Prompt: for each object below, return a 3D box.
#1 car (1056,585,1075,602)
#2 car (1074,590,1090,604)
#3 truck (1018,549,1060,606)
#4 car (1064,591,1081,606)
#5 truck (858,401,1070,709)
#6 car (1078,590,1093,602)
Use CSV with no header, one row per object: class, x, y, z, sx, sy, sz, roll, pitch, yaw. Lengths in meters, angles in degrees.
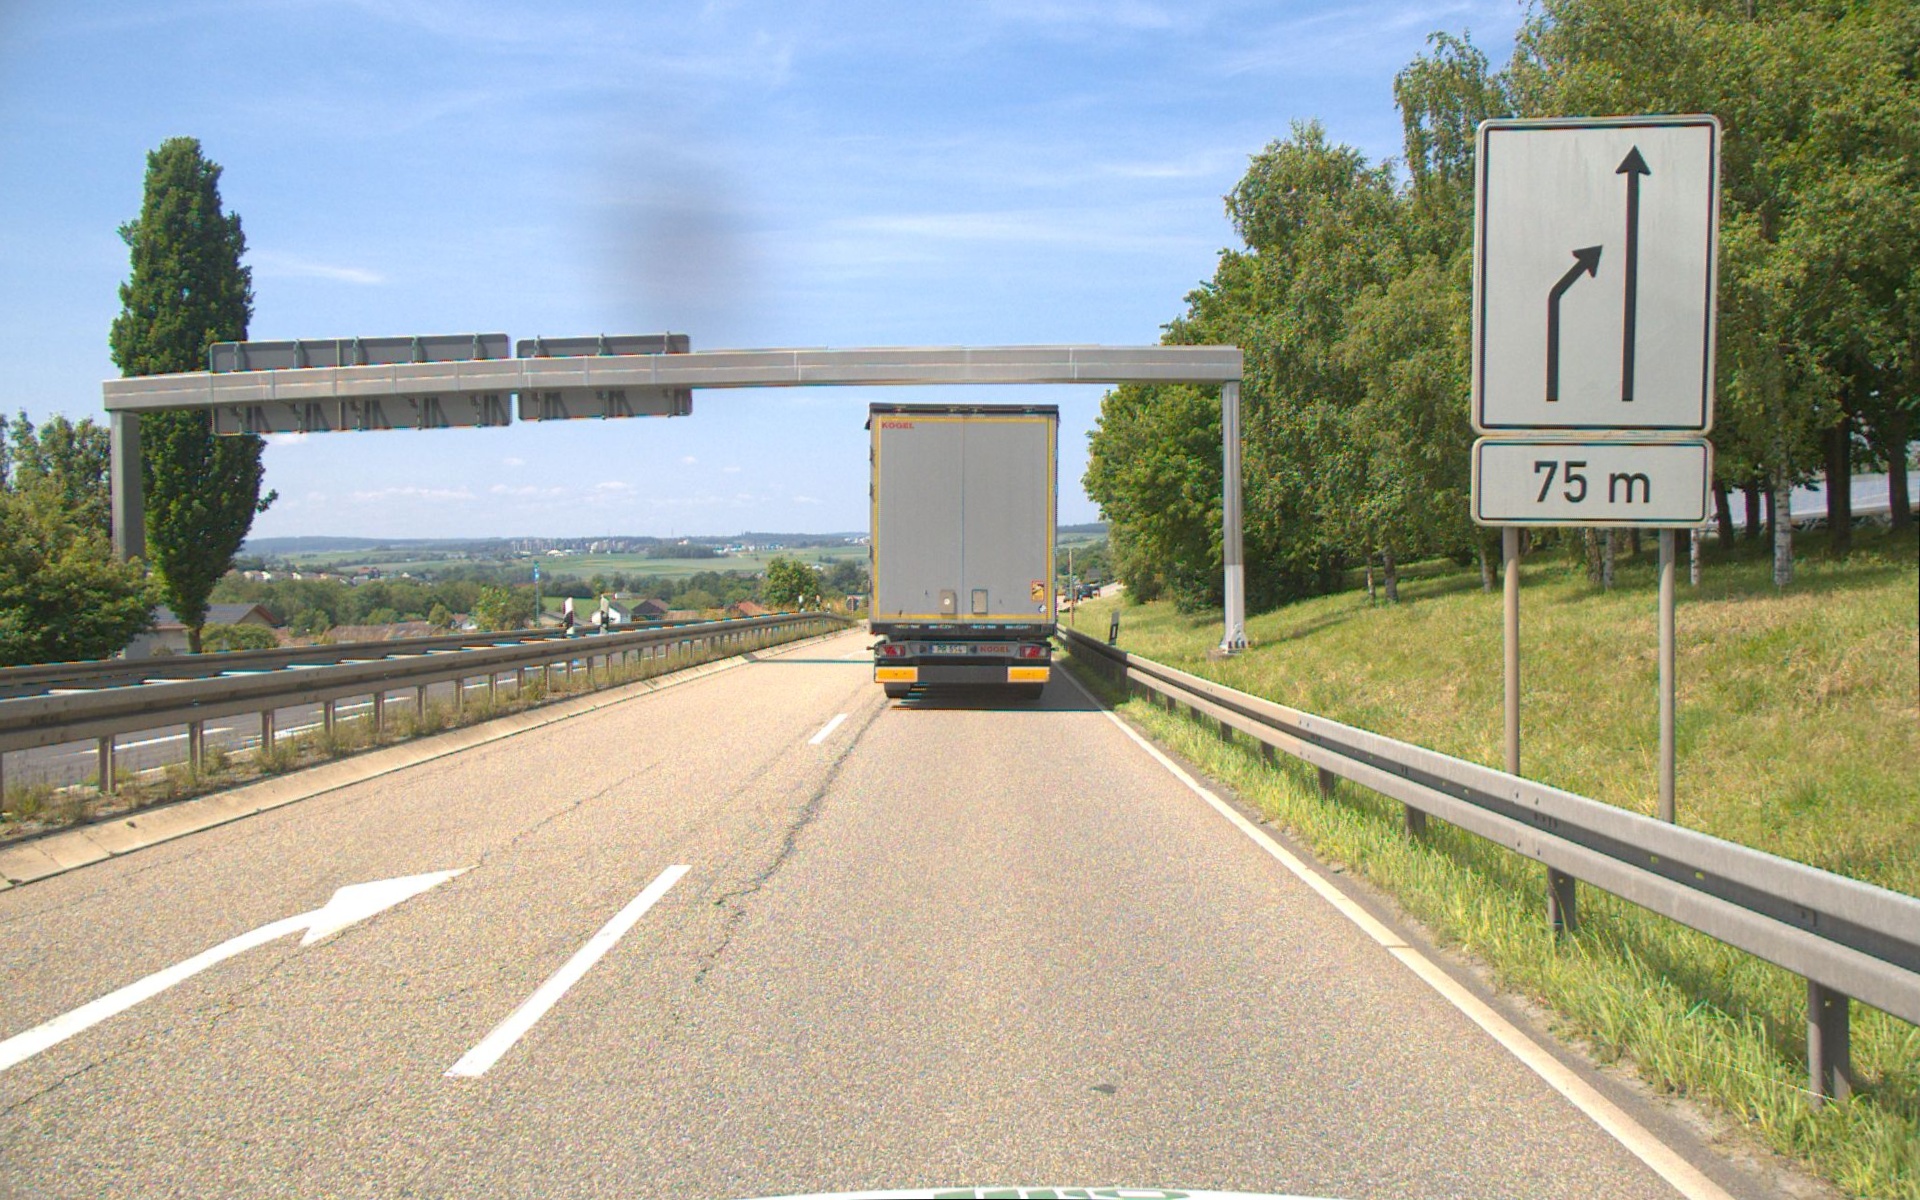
car,11.335,-0.674,177.910,1.750,1.717,4.000,0,-1,0
car,15.980,-0.399,216.887,1.750,1.717,4.000,0,-1,0
truck,5.739,-1.526,118.424,2.599,3.830,10.167,0,-1,5
car,13.319,-0.166,195.716,1.750,1.717,4.000,0,-1,0
truck,0.114,-0.610,27.234,2.741,3.998,11.342,0,0,1
car,17.929,-0.584,236.148,1.750,1.717,4.000,0,-1,0
